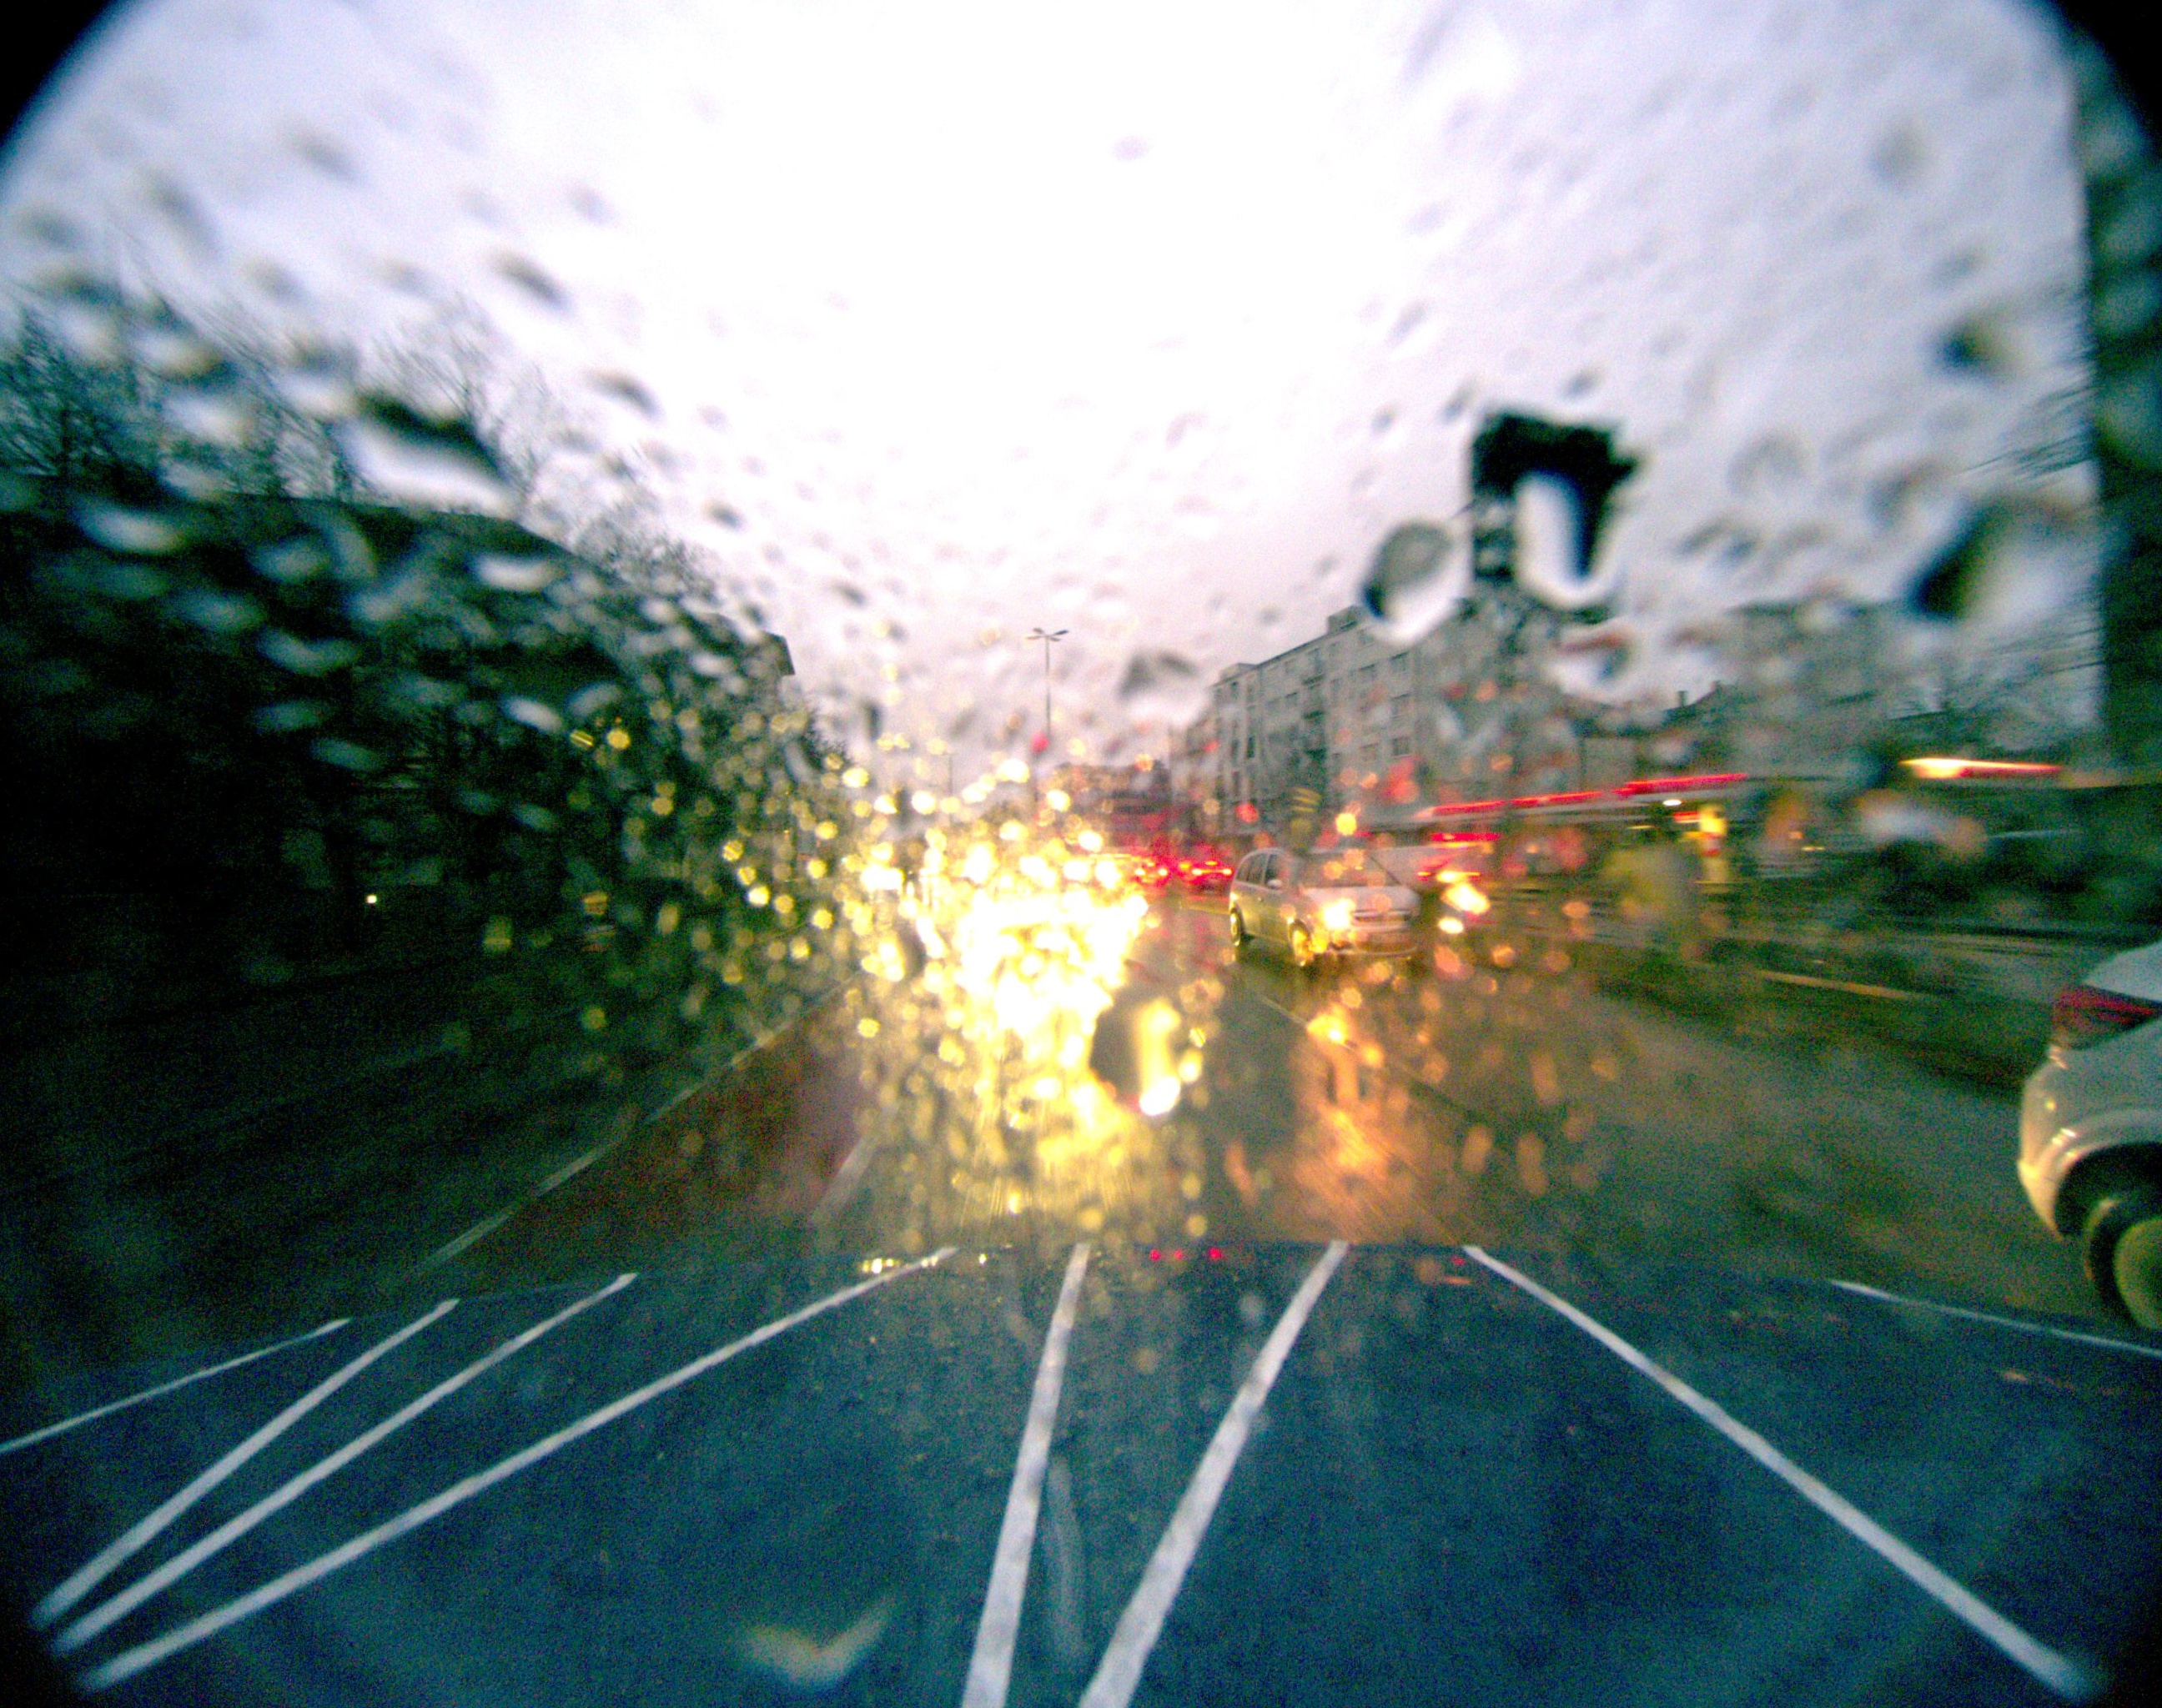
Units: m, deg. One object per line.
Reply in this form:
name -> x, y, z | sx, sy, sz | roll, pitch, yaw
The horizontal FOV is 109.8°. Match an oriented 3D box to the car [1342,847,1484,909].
car -> 11.333, 0.781, 26.387 | 2.001, 1.934, 4.849 | 1, -1, -13

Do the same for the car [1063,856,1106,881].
car -> 0.199, 1.109, 57.033 | 1.970, 1.772, 4.528 | 0, -1, -17

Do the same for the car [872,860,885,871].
car -> -33.193, 1.919, 124.389 | 2.001, 1.685, 3.995 | -2, 0, -16

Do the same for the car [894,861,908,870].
car -> -29.722, 1.895, 125.406 | 2.001, 1.525, 3.995 | -2, -1, -16

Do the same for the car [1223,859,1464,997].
car -> 3.436, 0.863, 10.846 | 1.650, 1.539, 4.107 | -2, 0, -6

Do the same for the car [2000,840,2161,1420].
car -> 3.573, 0.663, 0.263 | 1.630, 1.478, 4.000 | -1, -1, -1

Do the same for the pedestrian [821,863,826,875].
pedestrian -> -35.670, 2.083, 105.285 | 0.657, 1.579, 0.561 | -2, 0, -25

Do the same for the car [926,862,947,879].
car -> -17.949, 1.998, 94.381 | 2.002, 2.002, 3.994 | -1, 0, -18

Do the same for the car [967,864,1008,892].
car -> -5.991, 1.481, 48.386 | 1.822, 1.732, 4.180 | 0, -1, -18

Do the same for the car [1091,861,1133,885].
car -> 2.002, 1.247, 50.143 | 1.651, 1.478, 3.996 | 0, -1, -14

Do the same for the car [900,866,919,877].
car -> -21.683, 2.245, 96.165 | 1.970, 1.378, 4.528 | 0, -1, -17

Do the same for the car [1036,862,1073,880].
car -> -2.299, 1.416, 63.770 | 1.970, 1.505, 4.528 | 0, -1, -17

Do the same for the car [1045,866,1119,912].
car -> -0.032, 1.198, 27.431 | 1.755, 1.535, 3.995 | 0, -1, -14

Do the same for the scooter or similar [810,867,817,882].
scooter or similar -> -21.663, 1.642, 61.521 | 0.442, 1.196, 1.079 | -2, 0, -25

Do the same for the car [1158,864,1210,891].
car -> 6.198, 1.388, 46.111 | 1.651, 1.557, 4.275 | 0, -1, -14

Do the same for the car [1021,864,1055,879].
car -> -3.956, 1.588, 69.191 | 1.970, 1.378, 4.528 | 0, -1, -17

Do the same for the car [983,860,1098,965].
car -> -0.876, 0.942, 14.005 | 1.651, 1.575, 3.801 | -2, 0, -9

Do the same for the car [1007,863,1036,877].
car -> -5.988, 1.608, 75.765 | 1.970, 1.378, 4.528 | 0, -1, -17

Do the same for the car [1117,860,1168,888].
car -> 3.442, 1.125, 43.545 | 1.651, 1.478, 4.140 | 0, -1, -14

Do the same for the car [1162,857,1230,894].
car -> 5.331, 1.005, 35.956 | 1.651, 1.620, 4.655 | 0, -1, -12
